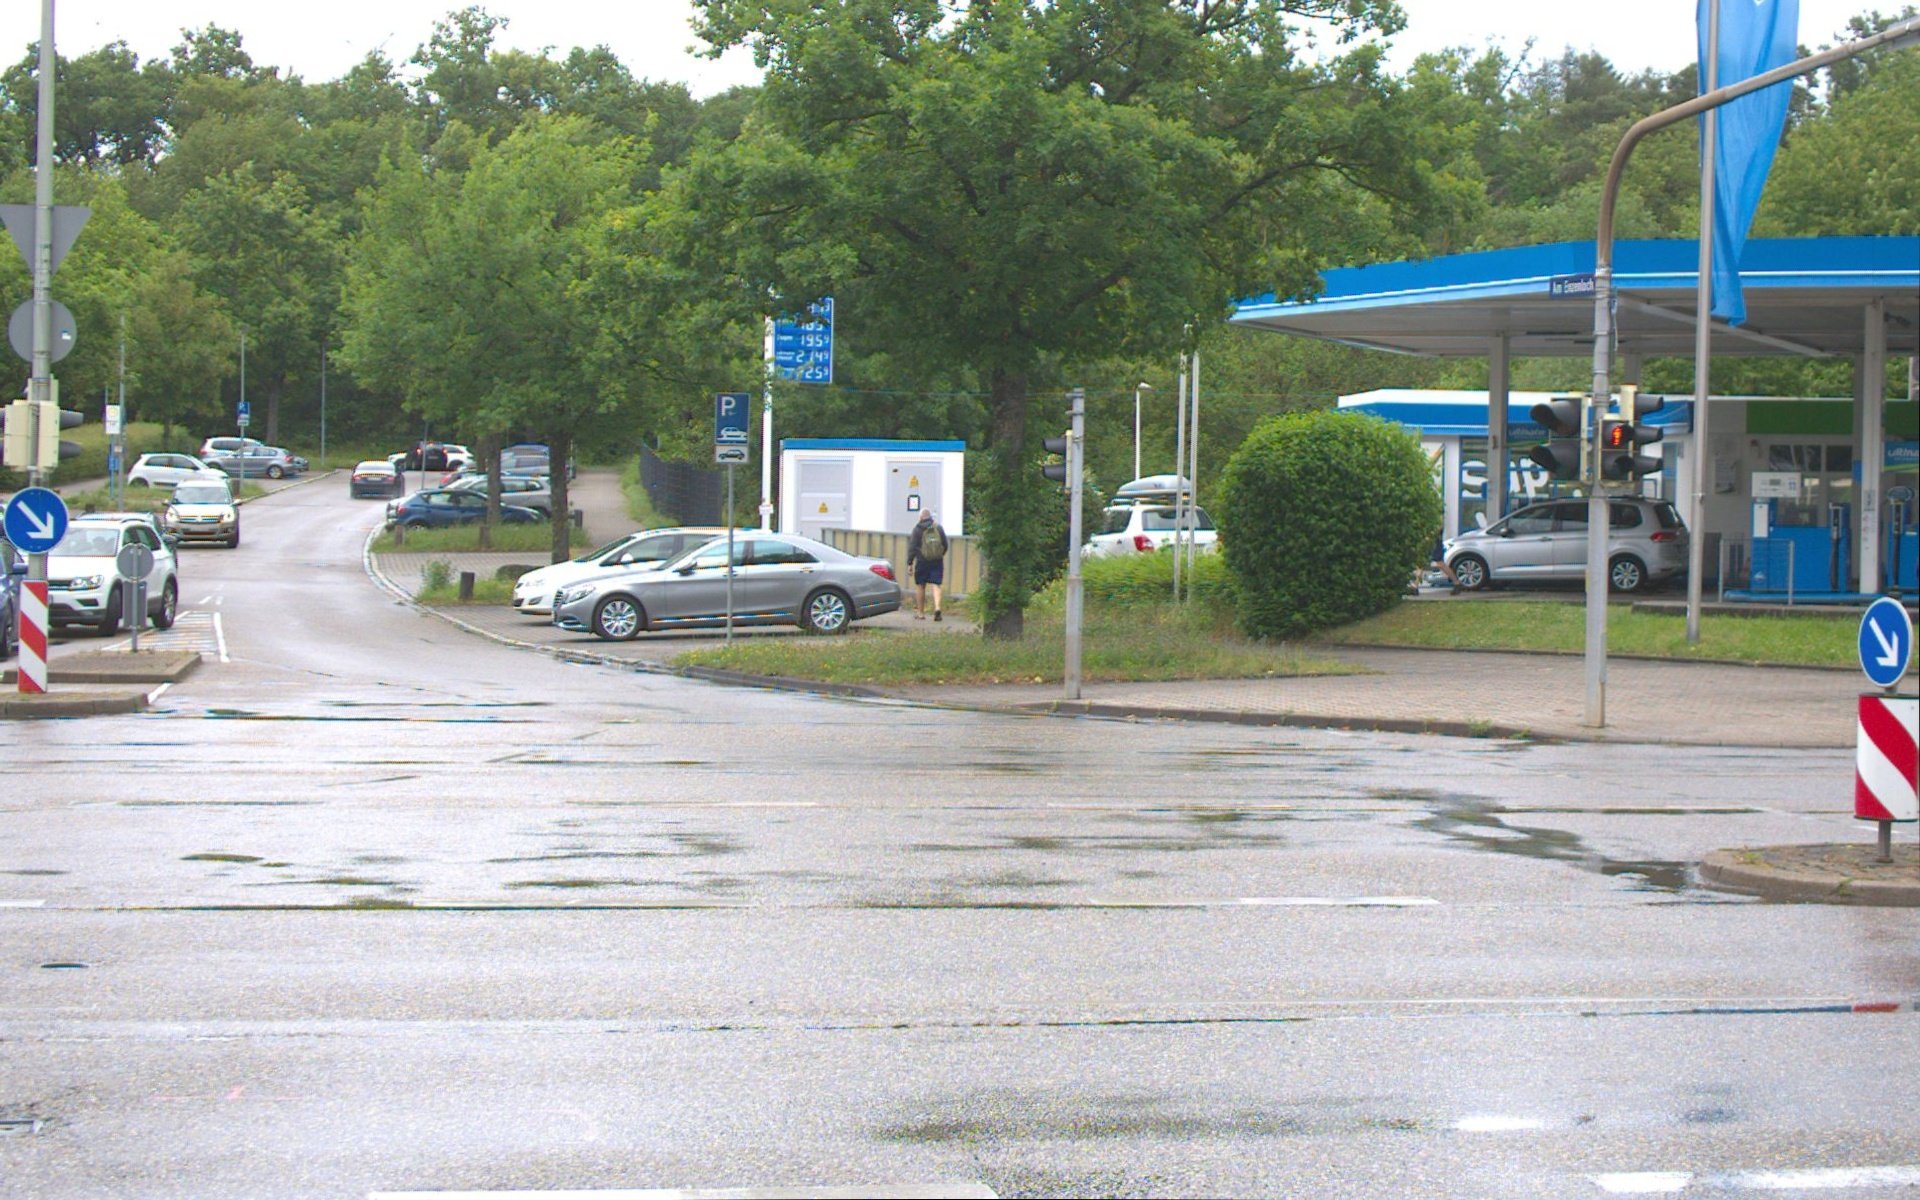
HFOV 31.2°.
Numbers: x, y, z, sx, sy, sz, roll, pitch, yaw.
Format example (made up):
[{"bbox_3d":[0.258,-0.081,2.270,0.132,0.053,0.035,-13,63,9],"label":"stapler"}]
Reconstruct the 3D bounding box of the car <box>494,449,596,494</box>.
[{"bbox_3d":[-16.648,-5.142,137.792,3.986,1.733,1.811,0,1,-9],"label":"car"}]

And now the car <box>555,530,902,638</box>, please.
[{"bbox_3d":[-3.437,-0.238,50.619,4.884,1.543,2.001,0,1,-11],"label":"car"}]

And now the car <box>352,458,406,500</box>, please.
[{"bbox_3d":[-21.759,-4.523,128.814,1.807,1.477,3.752,0,1,-7],"label":"car"}]

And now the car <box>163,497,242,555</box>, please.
[{"bbox_3d":[-19.311,-1.872,87.774,1.697,1.451,3.674,0,1,-8],"label":"car"}]

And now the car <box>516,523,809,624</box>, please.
[{"bbox_3d":[-4.856,-0.429,55.825,4.571,1.583,1.930,0,1,-11],"label":"car"}]

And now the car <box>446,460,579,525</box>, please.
[{"bbox_3d":[-12.782,-3.051,98.102,3.697,1.744,1.698,1,0,-9],"label":"car"}]

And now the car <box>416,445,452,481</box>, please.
[{"bbox_3d":[-26.991,-7.015,176.558,1.804,1.733,4.001,0,1,-9],"label":"car"}]

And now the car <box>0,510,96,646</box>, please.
[{"bbox_3d":[-12.124,-0.288,43.635,1.795,1.627,4.552,0,0,-8],"label":"car"}]

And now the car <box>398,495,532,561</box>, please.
[{"bbox_3d":[-13.155,-1.901,91.272,3.459,1.649,1.617,1,0,-9],"label":"car"}]

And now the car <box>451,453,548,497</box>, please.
[{"bbox_3d":[-19.446,-5.265,145.063,3.986,1.733,1.811,0,1,-9],"label":"car"}]

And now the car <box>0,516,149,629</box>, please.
[{"bbox_3d":[-12.817,-0.400,49.286,1.895,1.548,4.001,0,1,-7],"label":"car"}]

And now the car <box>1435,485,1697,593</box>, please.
[{"bbox_3d":[10.582,-1.061,60.044,4.120,1.801,1.943,1,1,25],"label":"car"}]

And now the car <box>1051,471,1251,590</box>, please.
[{"bbox_3d":[3.010,-1.096,54.867,1.808,1.791,3.701,1,1,-21],"label":"car"}]

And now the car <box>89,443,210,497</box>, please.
[{"bbox_3d":[-27.984,-4.491,118.758,3.986,1.788,1.857,0,0,-10],"label":"car"}]

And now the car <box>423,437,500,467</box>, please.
[{"bbox_3d":[-26.723,-7.944,184.496,3.986,1.525,1.806,0,0,-5],"label":"car"}]

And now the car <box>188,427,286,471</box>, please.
[{"bbox_3d":[-31.325,-6.537,149.079,3.986,1.788,1.857,0,0,-6],"label":"car"}]

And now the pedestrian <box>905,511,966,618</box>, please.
[{"bbox_3d":[-0.389,-0.552,53.693,0.808,1.656,0.887,0,0,-10],"label":"pedestrian"}]
